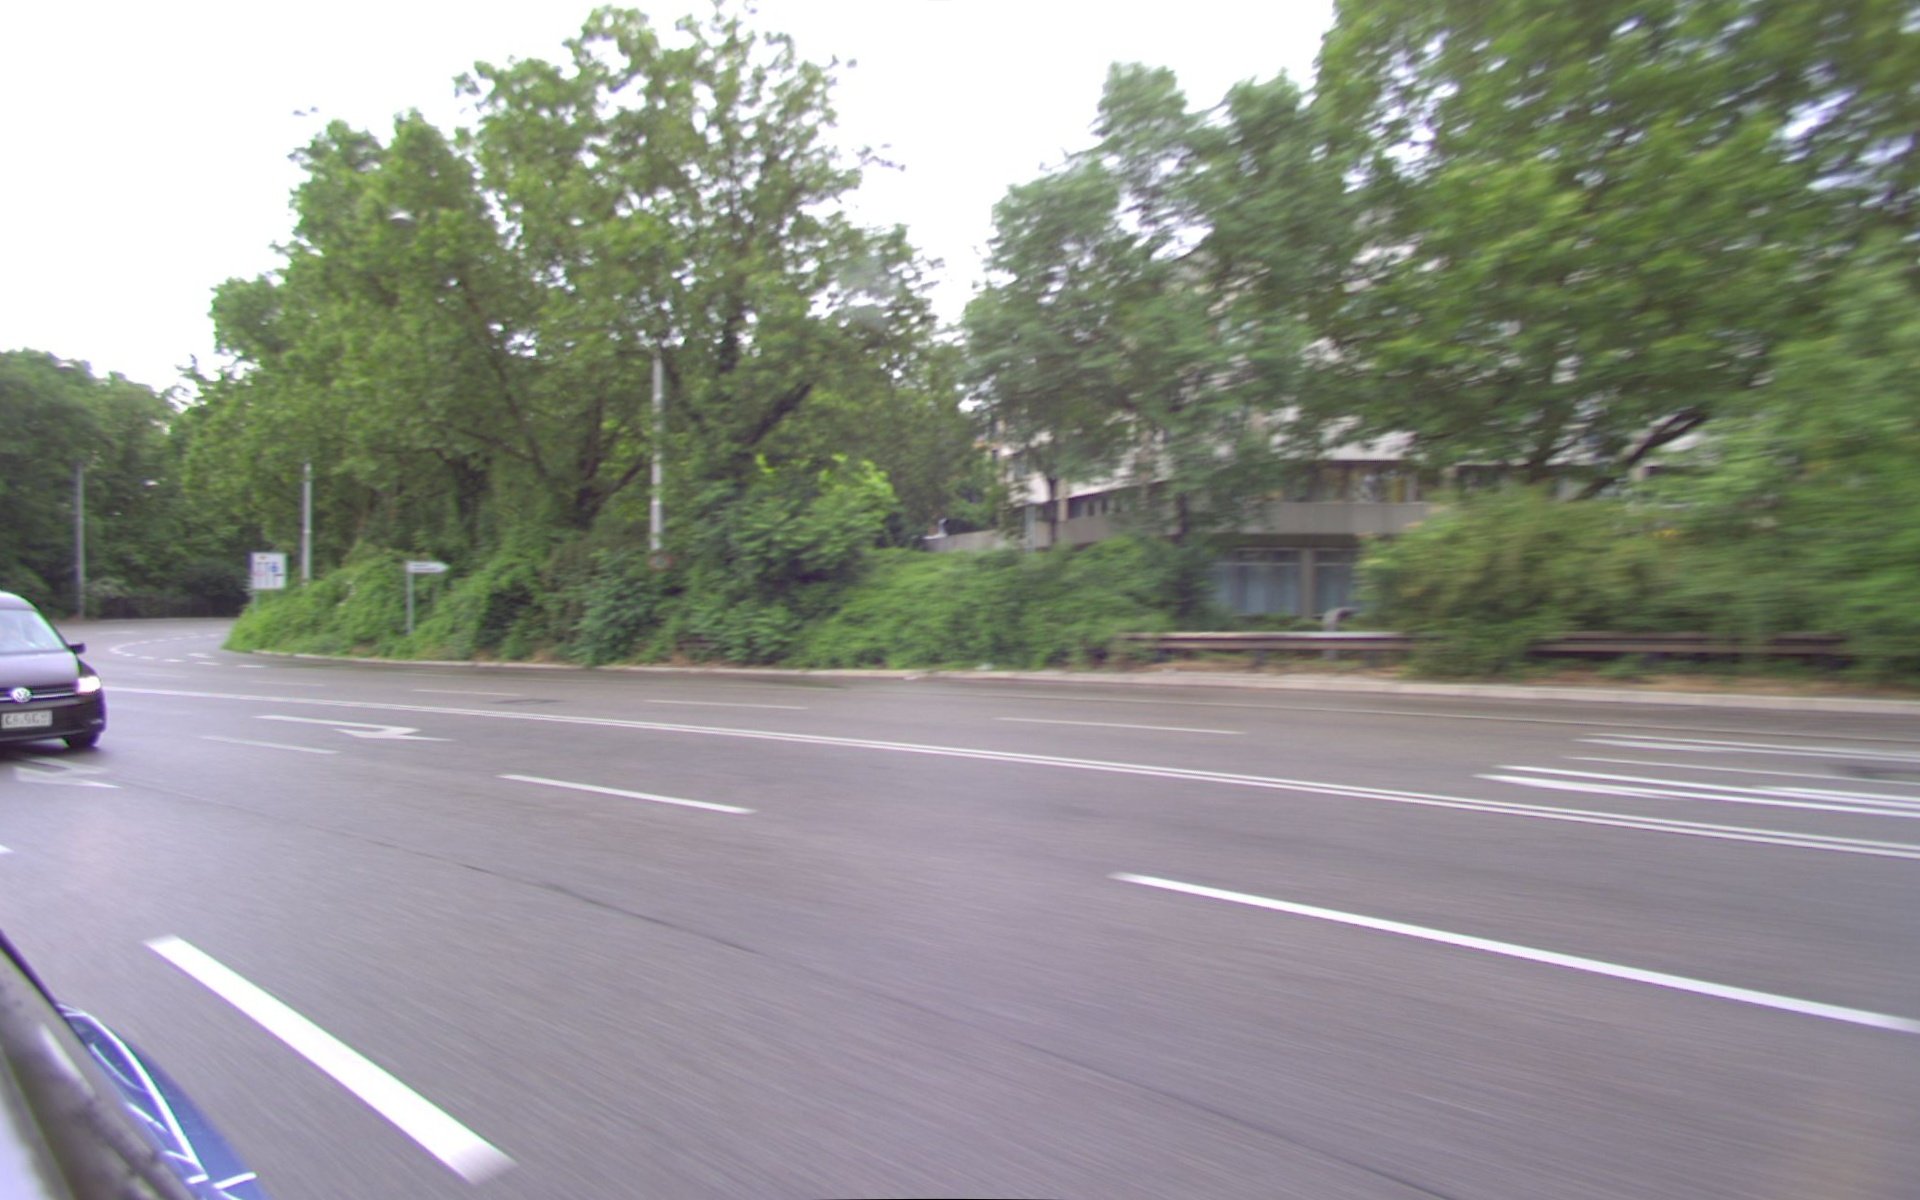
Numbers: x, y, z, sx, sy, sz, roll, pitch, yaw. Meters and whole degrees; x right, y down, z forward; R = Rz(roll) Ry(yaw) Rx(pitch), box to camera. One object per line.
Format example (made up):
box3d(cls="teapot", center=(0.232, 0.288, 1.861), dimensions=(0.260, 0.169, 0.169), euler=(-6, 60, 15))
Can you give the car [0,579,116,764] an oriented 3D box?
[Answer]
box3d(cls="car", center=(-11.170, 0.721, 11.028), dimensions=(4.109, 1.813, 1.778), euler=(-1, 0, 31))
